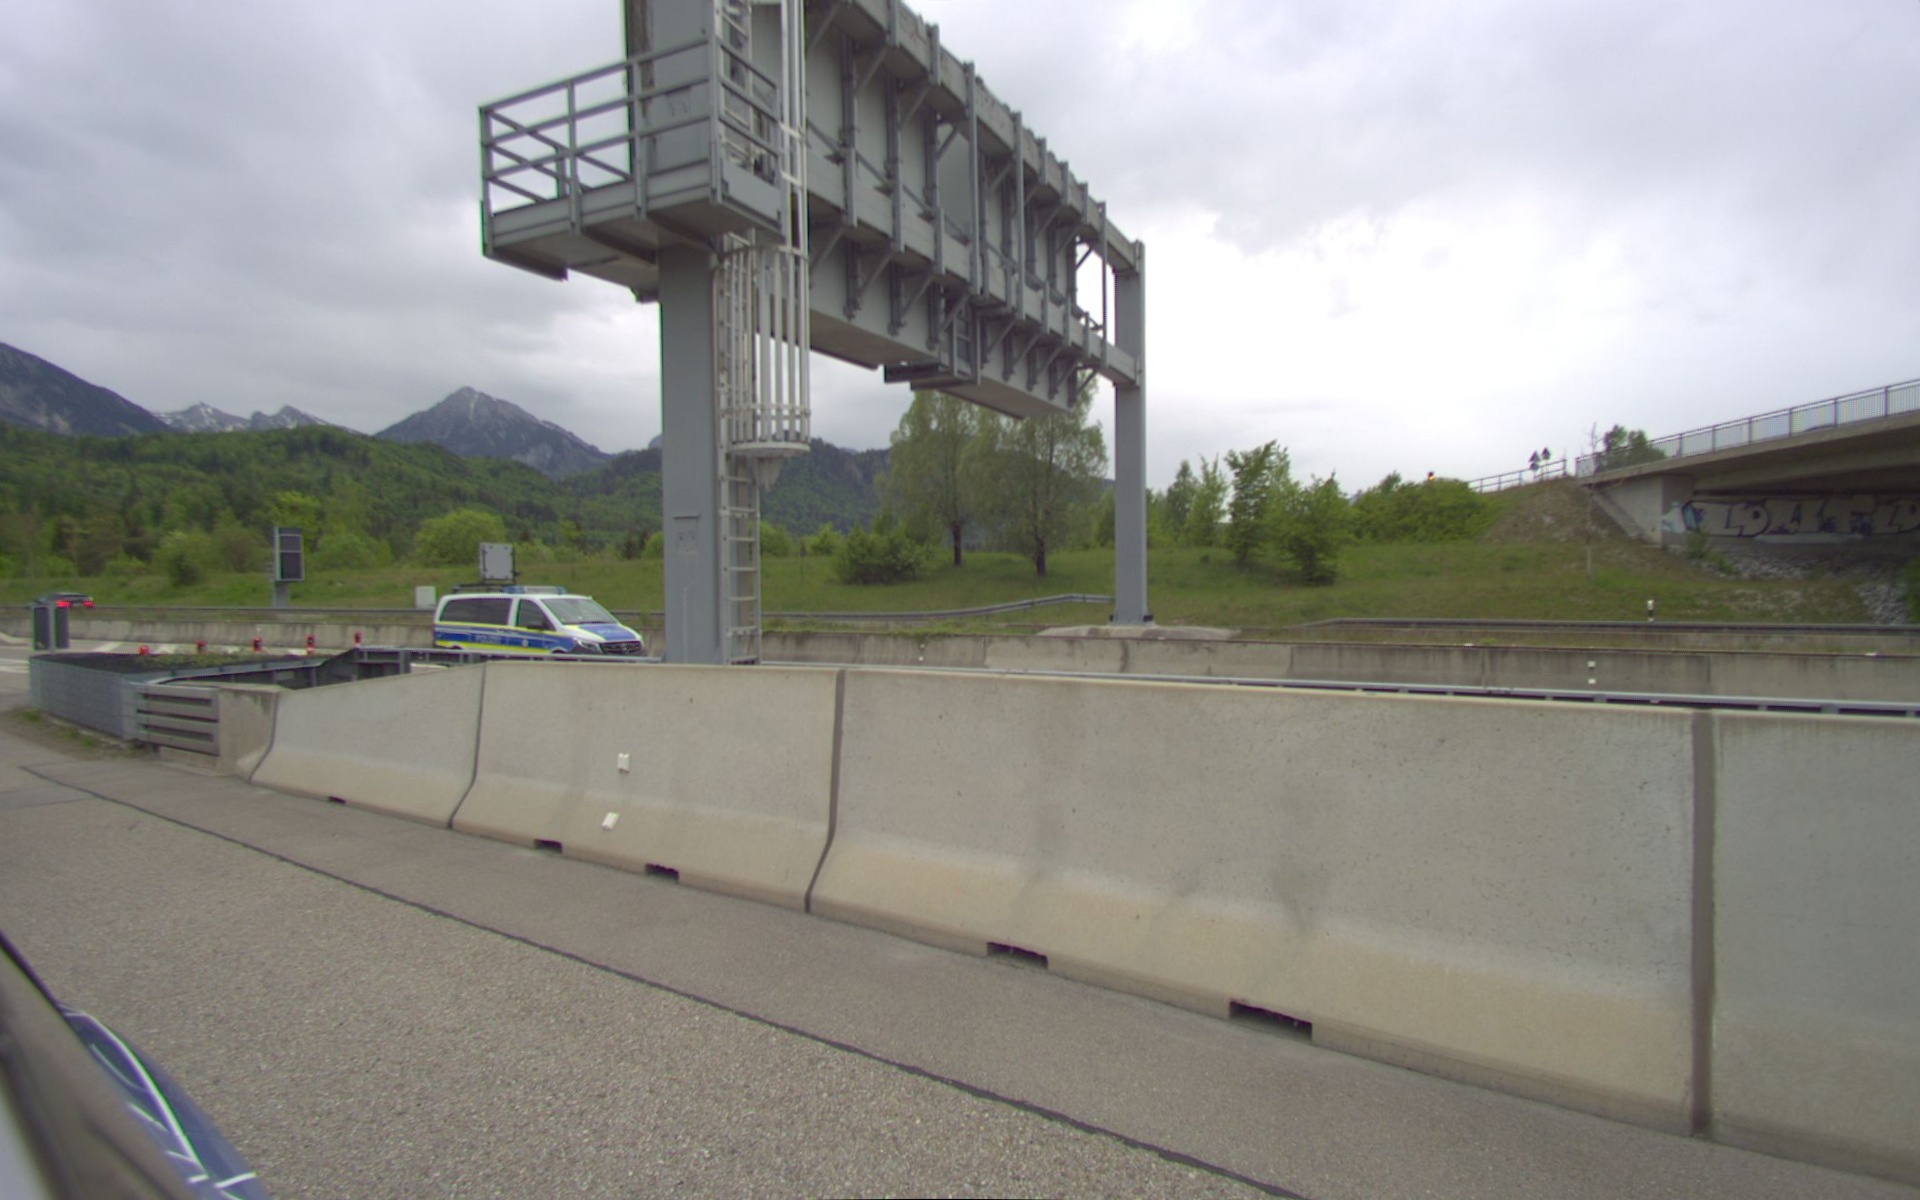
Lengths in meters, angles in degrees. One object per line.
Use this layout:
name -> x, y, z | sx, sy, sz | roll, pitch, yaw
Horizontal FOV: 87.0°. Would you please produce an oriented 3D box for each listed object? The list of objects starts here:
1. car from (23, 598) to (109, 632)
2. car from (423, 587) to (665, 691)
car -> -53.047, 0.872, 60.048 | 5.081, 1.970, 1.974 | 0, -1, 26
car -> -8.945, 0.773, 21.701 | 5.028, 2.029, 2.085 | 0, -1, 28
